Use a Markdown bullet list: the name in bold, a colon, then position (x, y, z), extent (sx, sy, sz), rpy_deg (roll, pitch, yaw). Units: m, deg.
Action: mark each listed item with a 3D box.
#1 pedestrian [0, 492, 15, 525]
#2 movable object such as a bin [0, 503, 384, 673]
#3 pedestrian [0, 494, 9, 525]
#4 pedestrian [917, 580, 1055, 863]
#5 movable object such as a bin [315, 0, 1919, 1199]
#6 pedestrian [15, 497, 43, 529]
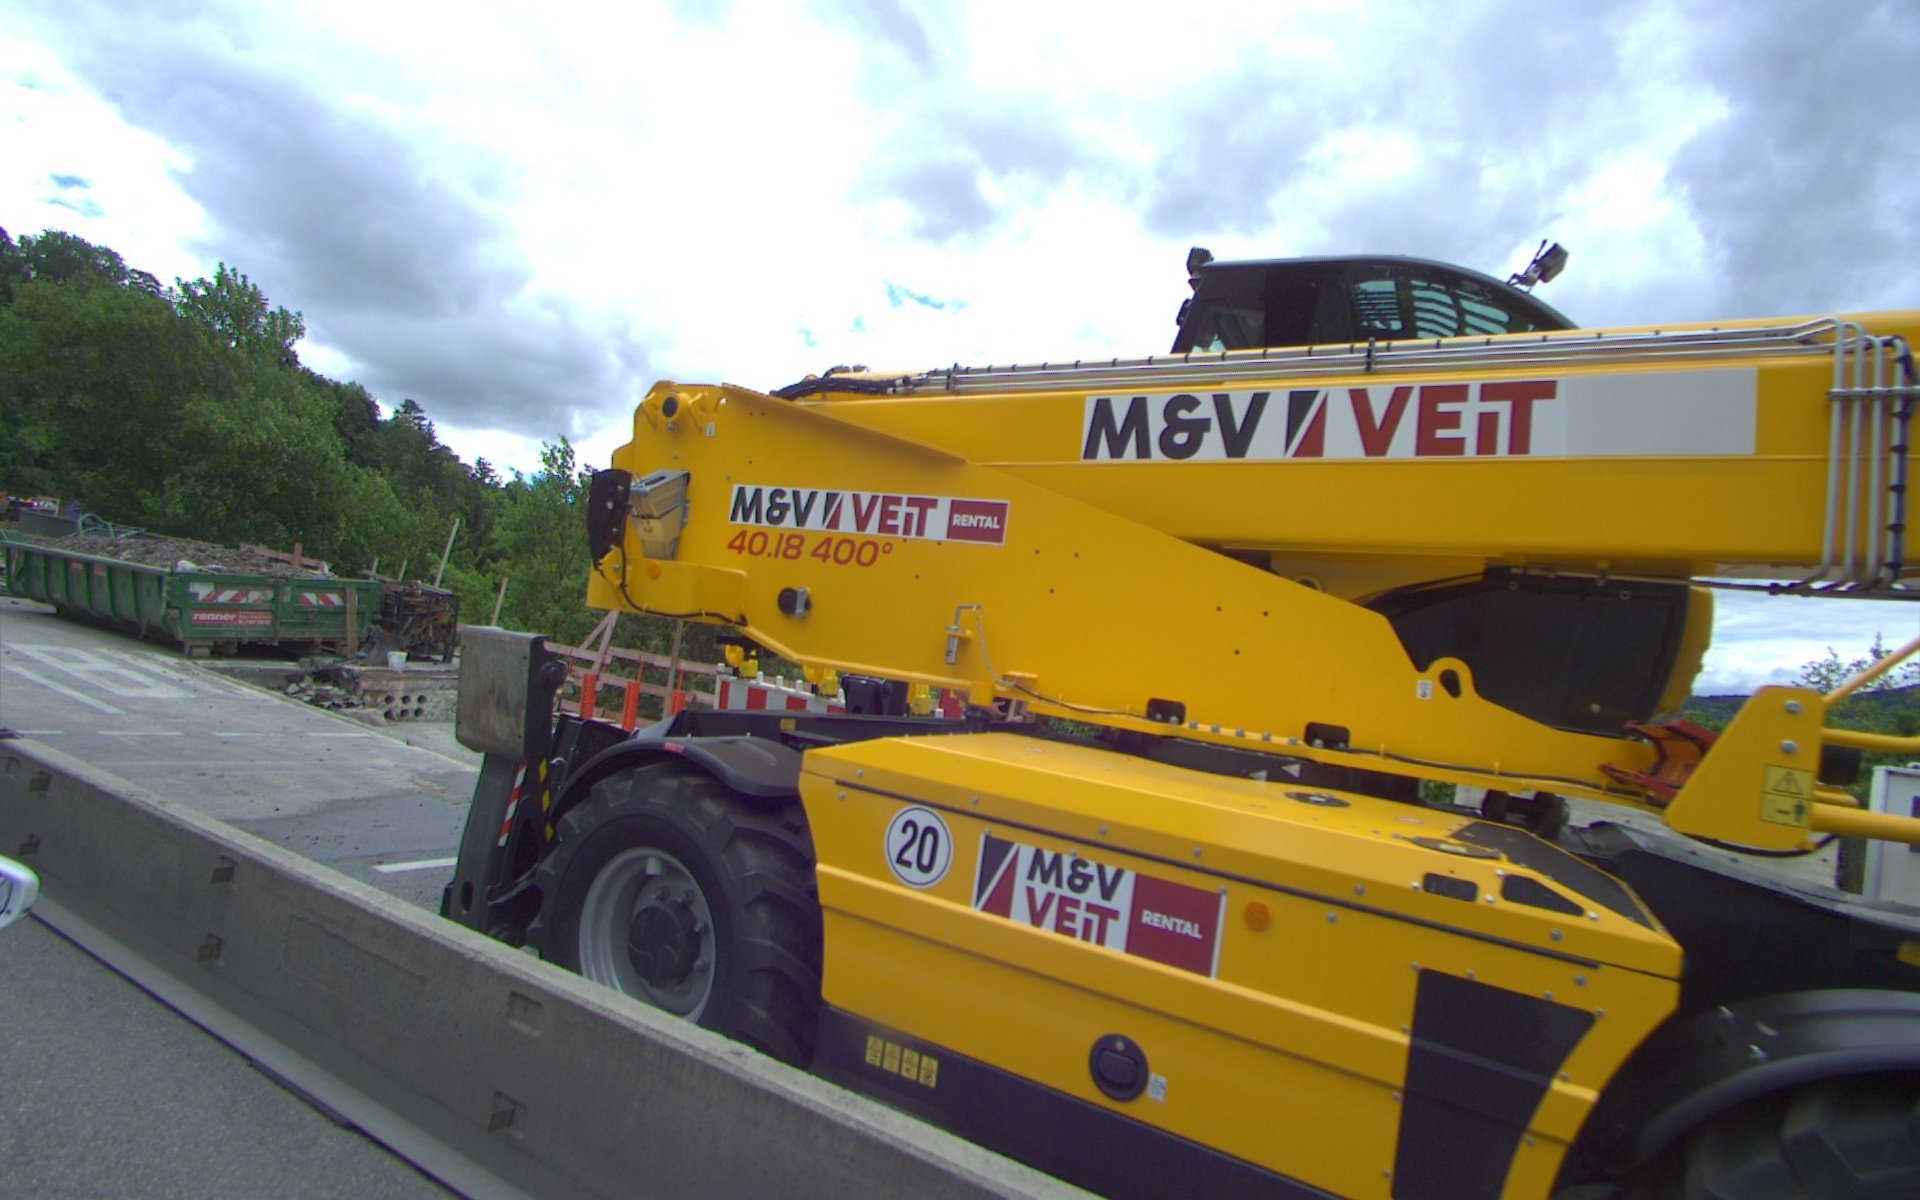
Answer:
- **pedestrian**: position (-56.498, -5.422, 59.312), extent (0.871, 1.844, 0.870), rpy_deg (7, 0, -35)
- **movable object such as a bin**: position (-11.452, -0.270, 14.409), extent (6.981, 1.579, 2.379), rpy_deg (7, -2, 31)
- **pedestrian**: position (-56.095, -5.324, 58.489), extent (0.871, 1.752, 0.870), rpy_deg (7, 0, -35)
- **pedestrian**: position (0.198, 0.824, 7.043), extent (0.530, 1.816, 0.691), rpy_deg (8, 0, 21)
- **movable object such as a bin**: position (1.963, 0.250, 2.867), extent (7.689, 3.106, 2.819), rpy_deg (7, -2, 29)
- **pedestrian**: position (-53.754, -5.019, 58.102), extent (0.774, 1.708, 0.782), rpy_deg (7, 0, -19)
